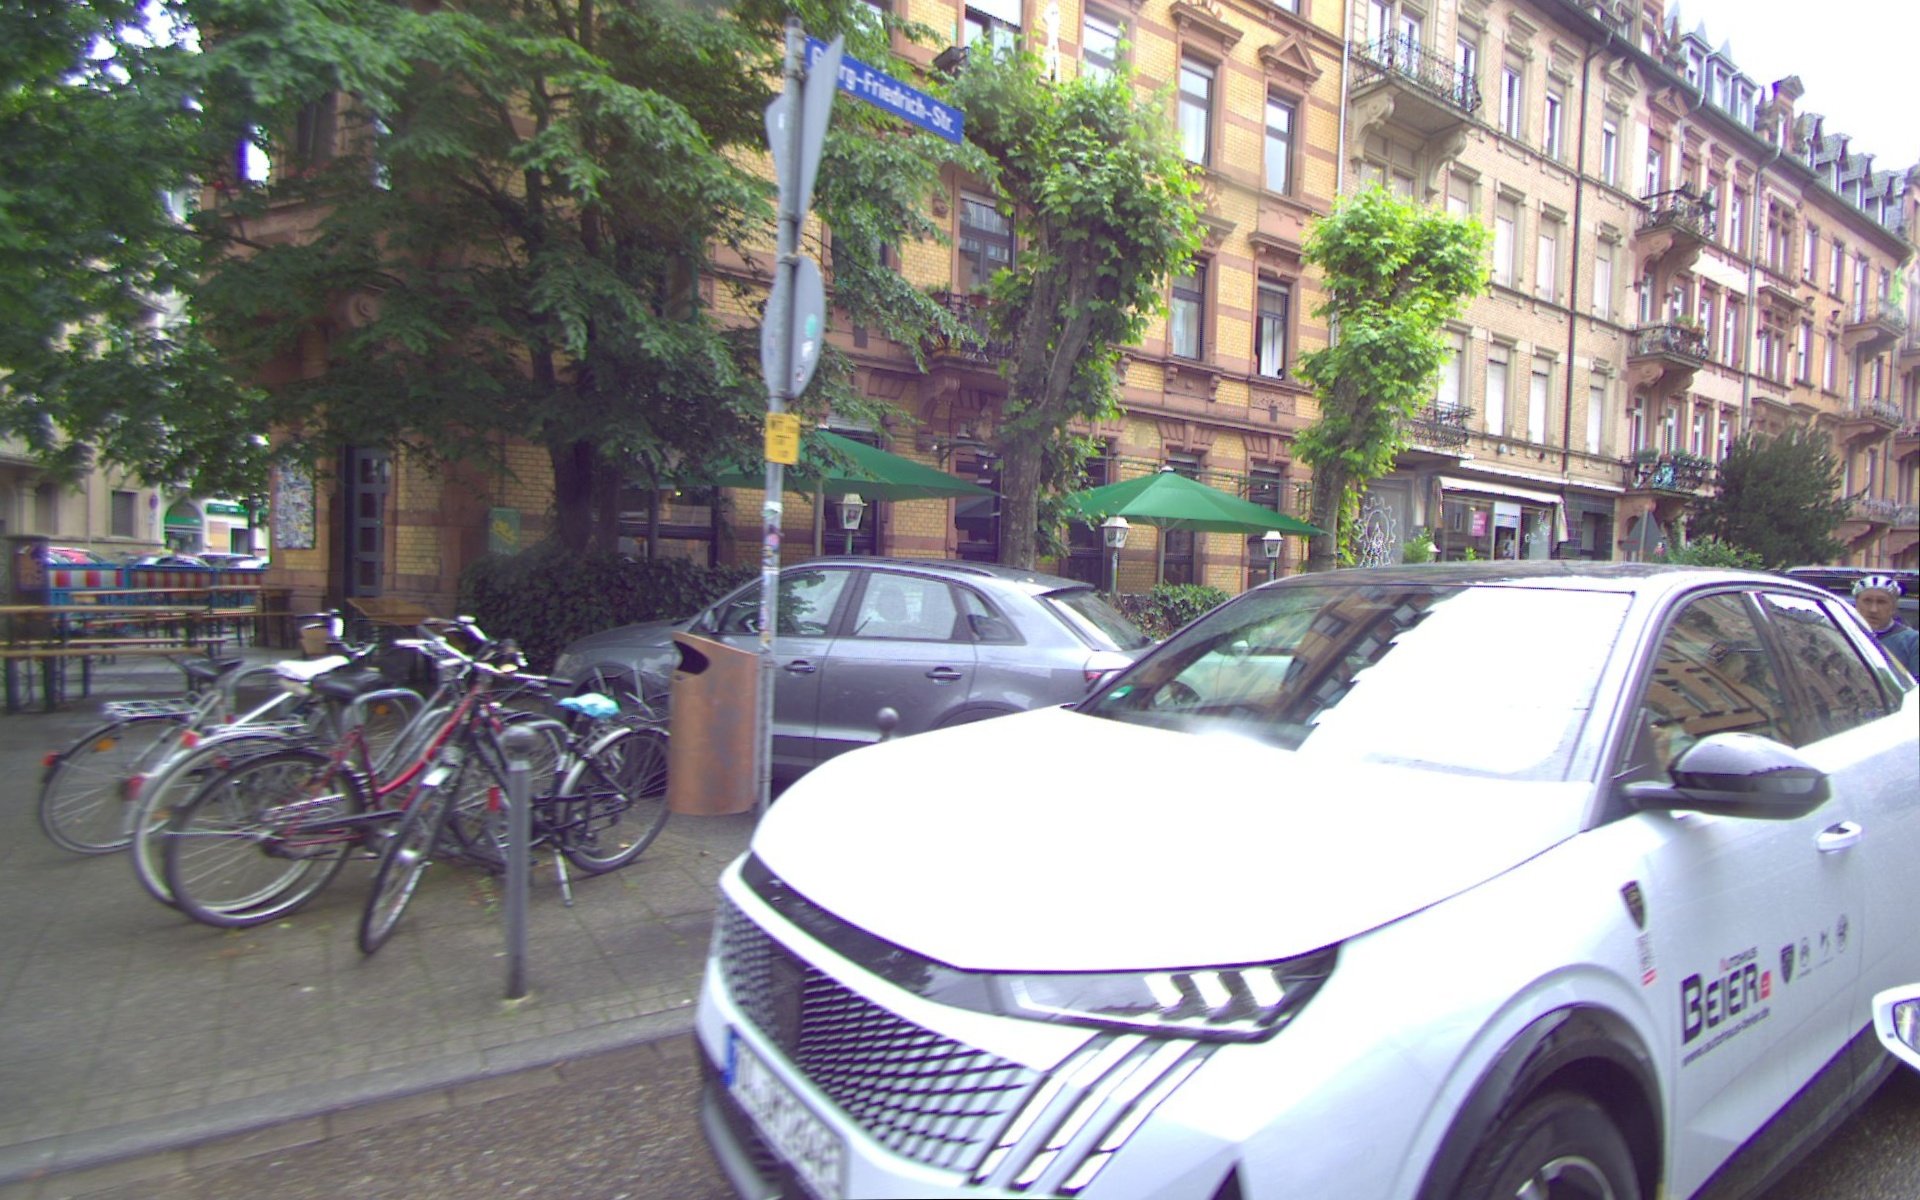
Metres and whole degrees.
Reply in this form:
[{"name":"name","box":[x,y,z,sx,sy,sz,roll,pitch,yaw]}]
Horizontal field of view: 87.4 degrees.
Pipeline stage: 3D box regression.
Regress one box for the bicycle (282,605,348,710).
[{"name":"bicycle","box":[-5.834,0.483,9.062,0.402,0.826,1.380,0,2,-37]}]

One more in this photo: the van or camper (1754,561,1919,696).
[{"name":"van or camper","box":[17.911,0.554,18.477,4.637,2.299,2.183,4,3,25]}]

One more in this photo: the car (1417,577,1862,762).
[{"name":"car","box":[7.927,0.711,12.238,4.058,1.684,1.801,5,3,21]}]

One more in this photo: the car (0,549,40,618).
[{"name":"car","box":[-21.871,-0.337,20.838,1.809,1.497,4.382,0,2,-6]}]

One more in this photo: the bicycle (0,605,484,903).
[{"name":"bicycle","box":[-3.519,0.626,5.068,0.762,1.159,1.928,3,1,28]}]

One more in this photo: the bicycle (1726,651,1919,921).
[{"name":"bicycle","box":[5.339,0.954,5.840,2.246,1.196,0.765,0,1,-35]}]

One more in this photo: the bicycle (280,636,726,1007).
[{"name":"bicycle","box":[-1.797,0.774,4.235,0.576,1.159,1.679,3,2,28]}]

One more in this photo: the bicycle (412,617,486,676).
[{"name":"bicycle","box":[-4.933,0.428,9.670,0.402,0.459,1.380,1,1,-37]}]

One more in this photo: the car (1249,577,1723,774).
[{"name":"car","box":[5.337,0.677,10.741,4.058,1.513,1.800,5,2,22]}]

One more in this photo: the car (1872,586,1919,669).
[{"name":"car","box":[26.647,0.805,25.254,5.163,2.106,1.865,3,1,33]}]

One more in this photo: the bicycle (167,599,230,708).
[{"name":"bicycle","box":[-6.570,0.428,8.679,0.402,0.826,1.380,0,2,-37]}]

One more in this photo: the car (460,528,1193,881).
[{"name":"car","box":[-0.843,0.478,6.728,4.371,1.584,2.000,4,1,21]}]

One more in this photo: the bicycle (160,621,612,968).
[{"name":"bicycle","box":[-2.318,0.693,4.292,0.392,1.159,1.678,3,2,31]}]

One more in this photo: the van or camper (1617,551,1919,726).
[{"name":"van or camper","box":[12.763,0.545,15.481,4.007,2.269,1.935,5,2,25]}]

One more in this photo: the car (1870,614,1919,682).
[{"name":"car","box":[22.721,1.119,21.868,3.927,1.455,1.781,2,1,29]}]

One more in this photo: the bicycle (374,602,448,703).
[{"name":"bicycle","box":[-5.164,0.461,9.415,0.402,0.826,1.380,1,1,-37]}]

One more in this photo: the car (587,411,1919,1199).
[{"name":"car","box":[1.636,0.696,3.105,4.956,1.682,1.847,1,-1,-34]}]

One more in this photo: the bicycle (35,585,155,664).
[{"name":"bicycle","box":[-9.950,0.266,11.547,1.516,0.826,0.405,3,1,23]}]

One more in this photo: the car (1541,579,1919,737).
[{"name":"car","box":[10.588,0.715,13.882,4.058,1.684,1.801,5,2,21]}]

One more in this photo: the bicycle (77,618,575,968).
[{"name":"bicycle","box":[-2.652,0.704,4.465,0.392,1.201,1.873,3,2,31]}]

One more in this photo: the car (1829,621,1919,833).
[{"name":"car","box":[8.920,0.944,8.205,4.095,1.514,1.784,0,0,-34]}]

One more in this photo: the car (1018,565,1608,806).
[{"name":"car","box":[3.095,0.588,9.419,4.634,1.584,1.998,4,4,23]}]

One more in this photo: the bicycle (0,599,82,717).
[{"name":"bicycle","box":[-7.391,0.430,8.070,0.402,0.826,1.380,0,2,-37]}]

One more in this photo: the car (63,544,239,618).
[{"name":"car","box":[-21.852,-0.533,27.379,1.810,1.821,4.378,0,2,-10]}]
